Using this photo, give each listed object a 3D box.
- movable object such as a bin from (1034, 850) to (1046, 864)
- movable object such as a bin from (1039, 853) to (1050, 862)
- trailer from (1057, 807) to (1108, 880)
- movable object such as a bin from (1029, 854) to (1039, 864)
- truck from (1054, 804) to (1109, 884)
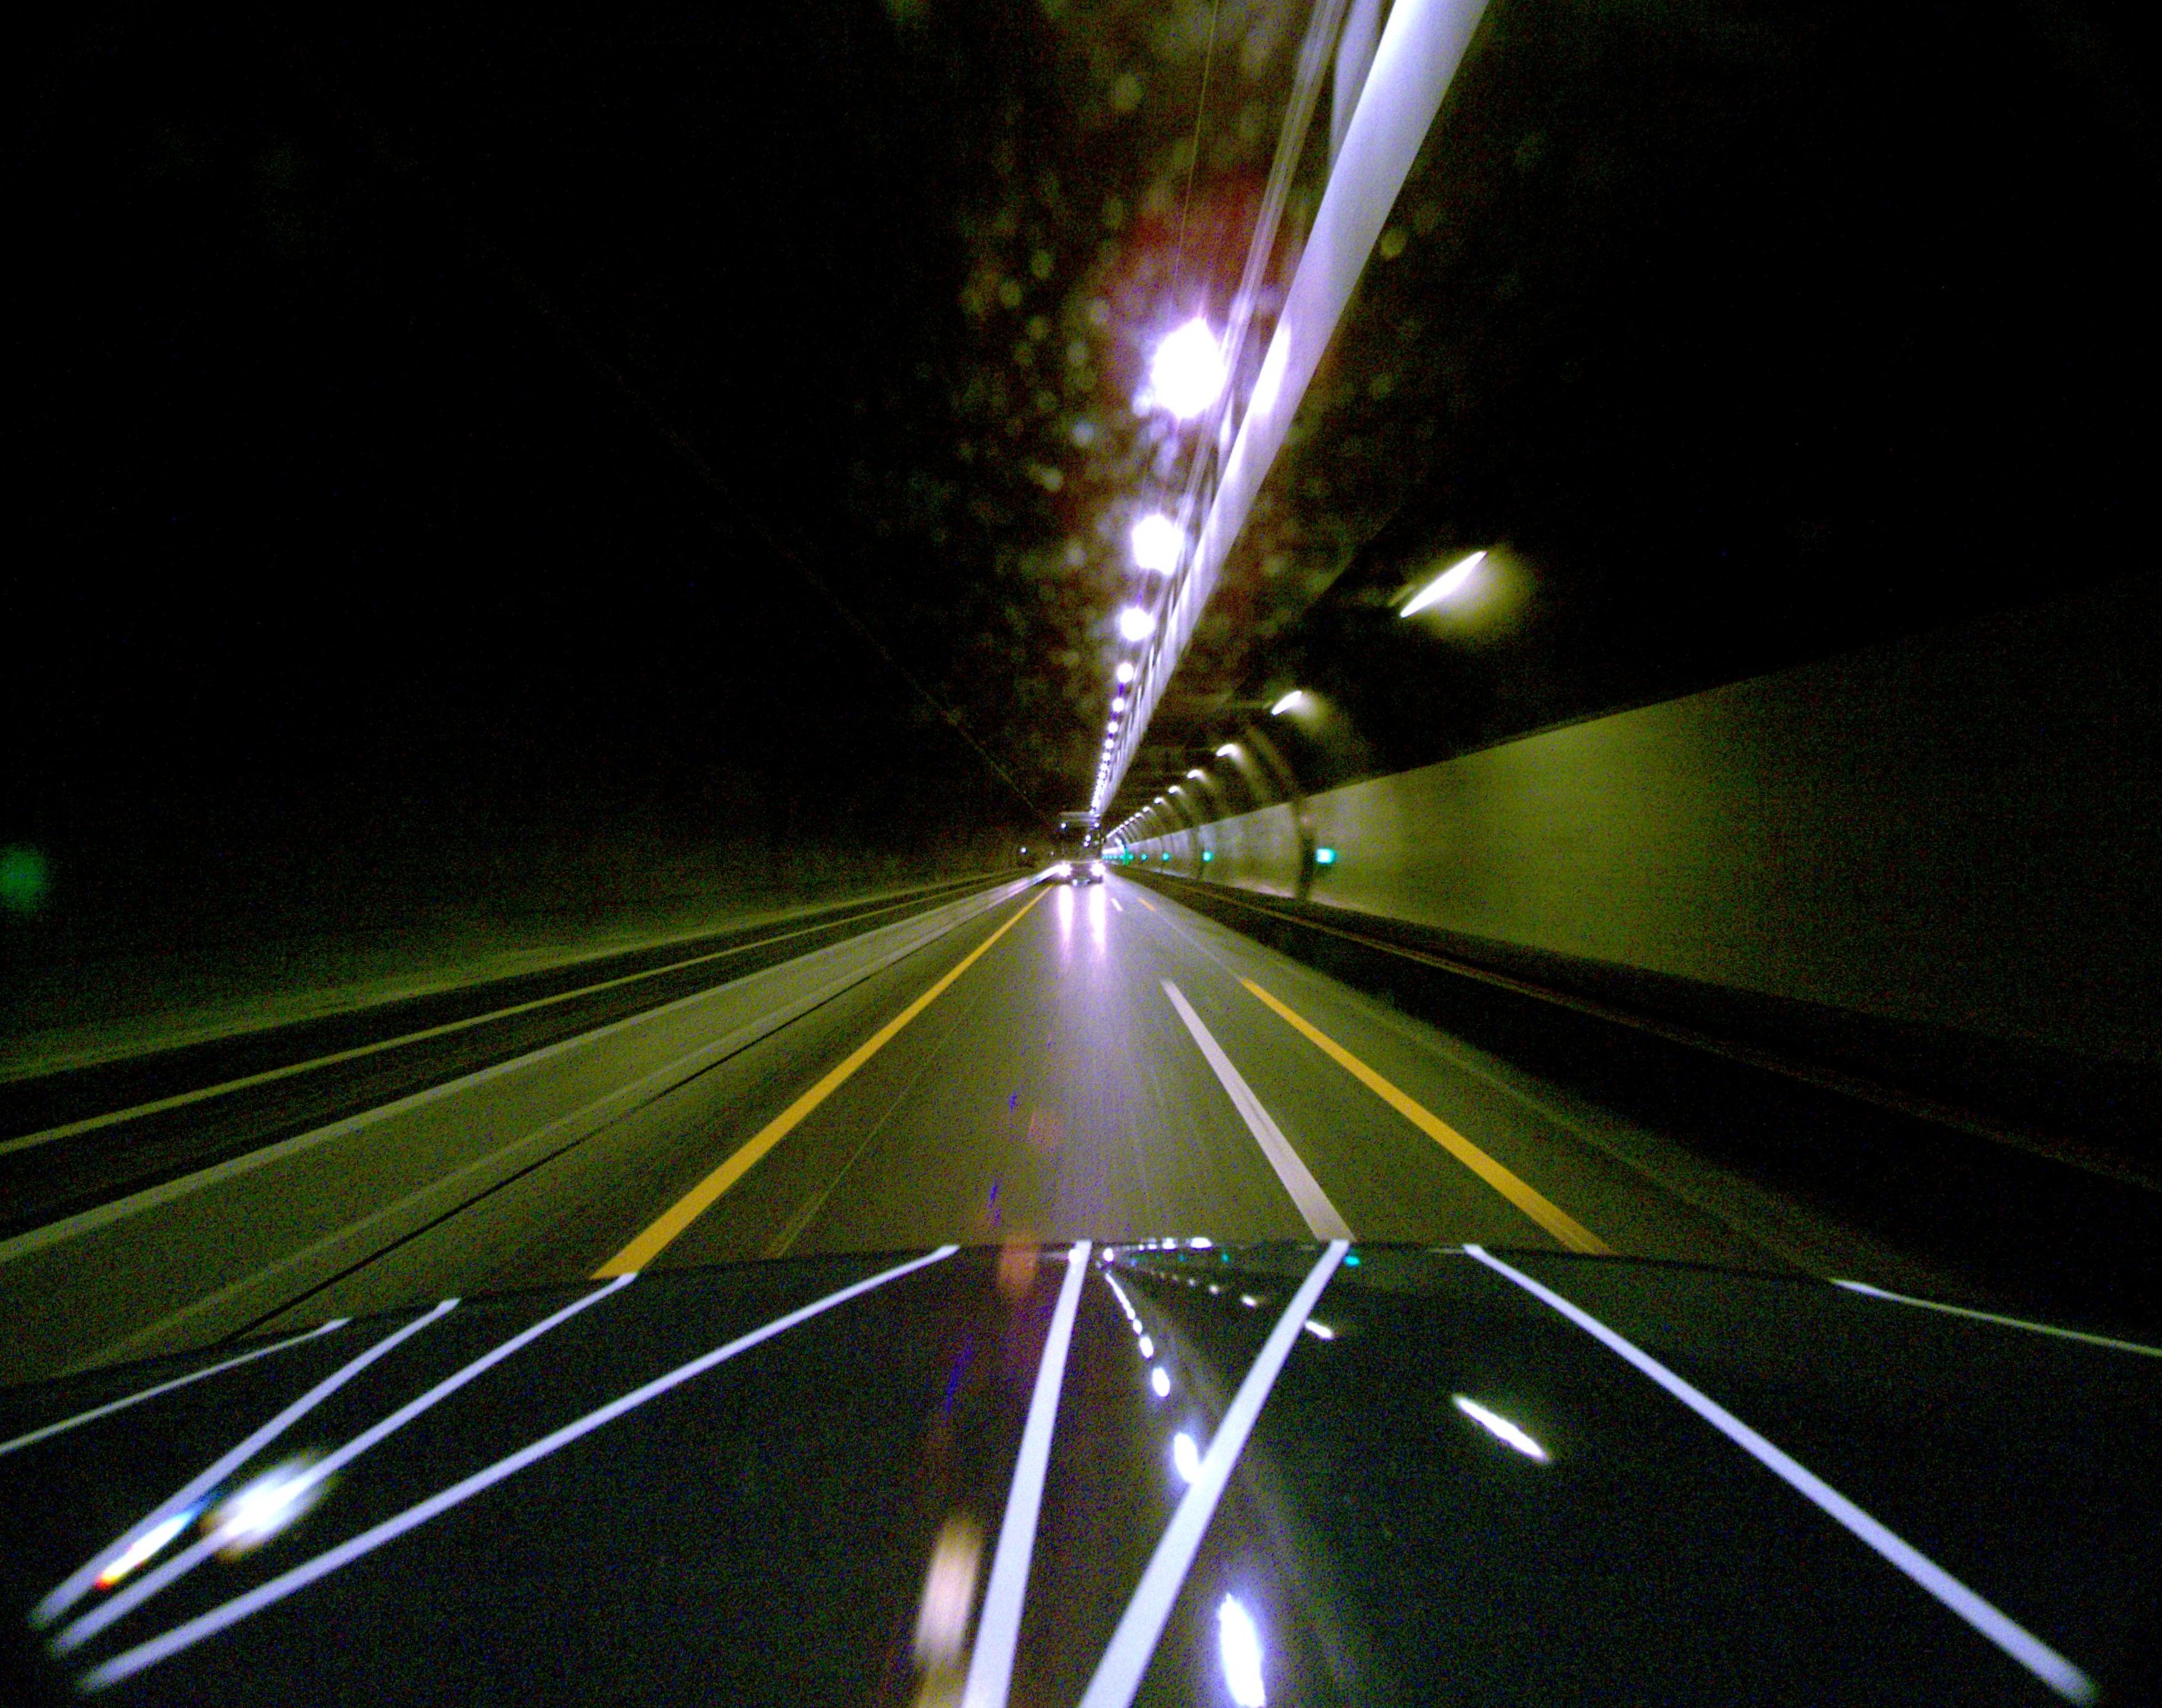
[{"bbox_3d":[-6.930,0.486,127.509,1.688,2.133,4.627,-2,1,0],"label":"movable object such as a bin"},{"bbox_3d":[-7.084,0.714,145.873,1.865,1.665,4.501,2,0,0],"label":"movable object such as a bin"},{"bbox_3d":[0.097,-0.659,50.833,2.940,4.316,10.051,-2,1,0],"label":"trailer"},{"bbox_3d":[-8.195,0.809,133.318,1.560,1.699,3.054,-2,1,0],"label":"movable object such as a bin"},{"bbox_3d":[0.055,-0.611,45.496,2.951,4.338,6.674,-2,1,0],"label":"truck"}]
